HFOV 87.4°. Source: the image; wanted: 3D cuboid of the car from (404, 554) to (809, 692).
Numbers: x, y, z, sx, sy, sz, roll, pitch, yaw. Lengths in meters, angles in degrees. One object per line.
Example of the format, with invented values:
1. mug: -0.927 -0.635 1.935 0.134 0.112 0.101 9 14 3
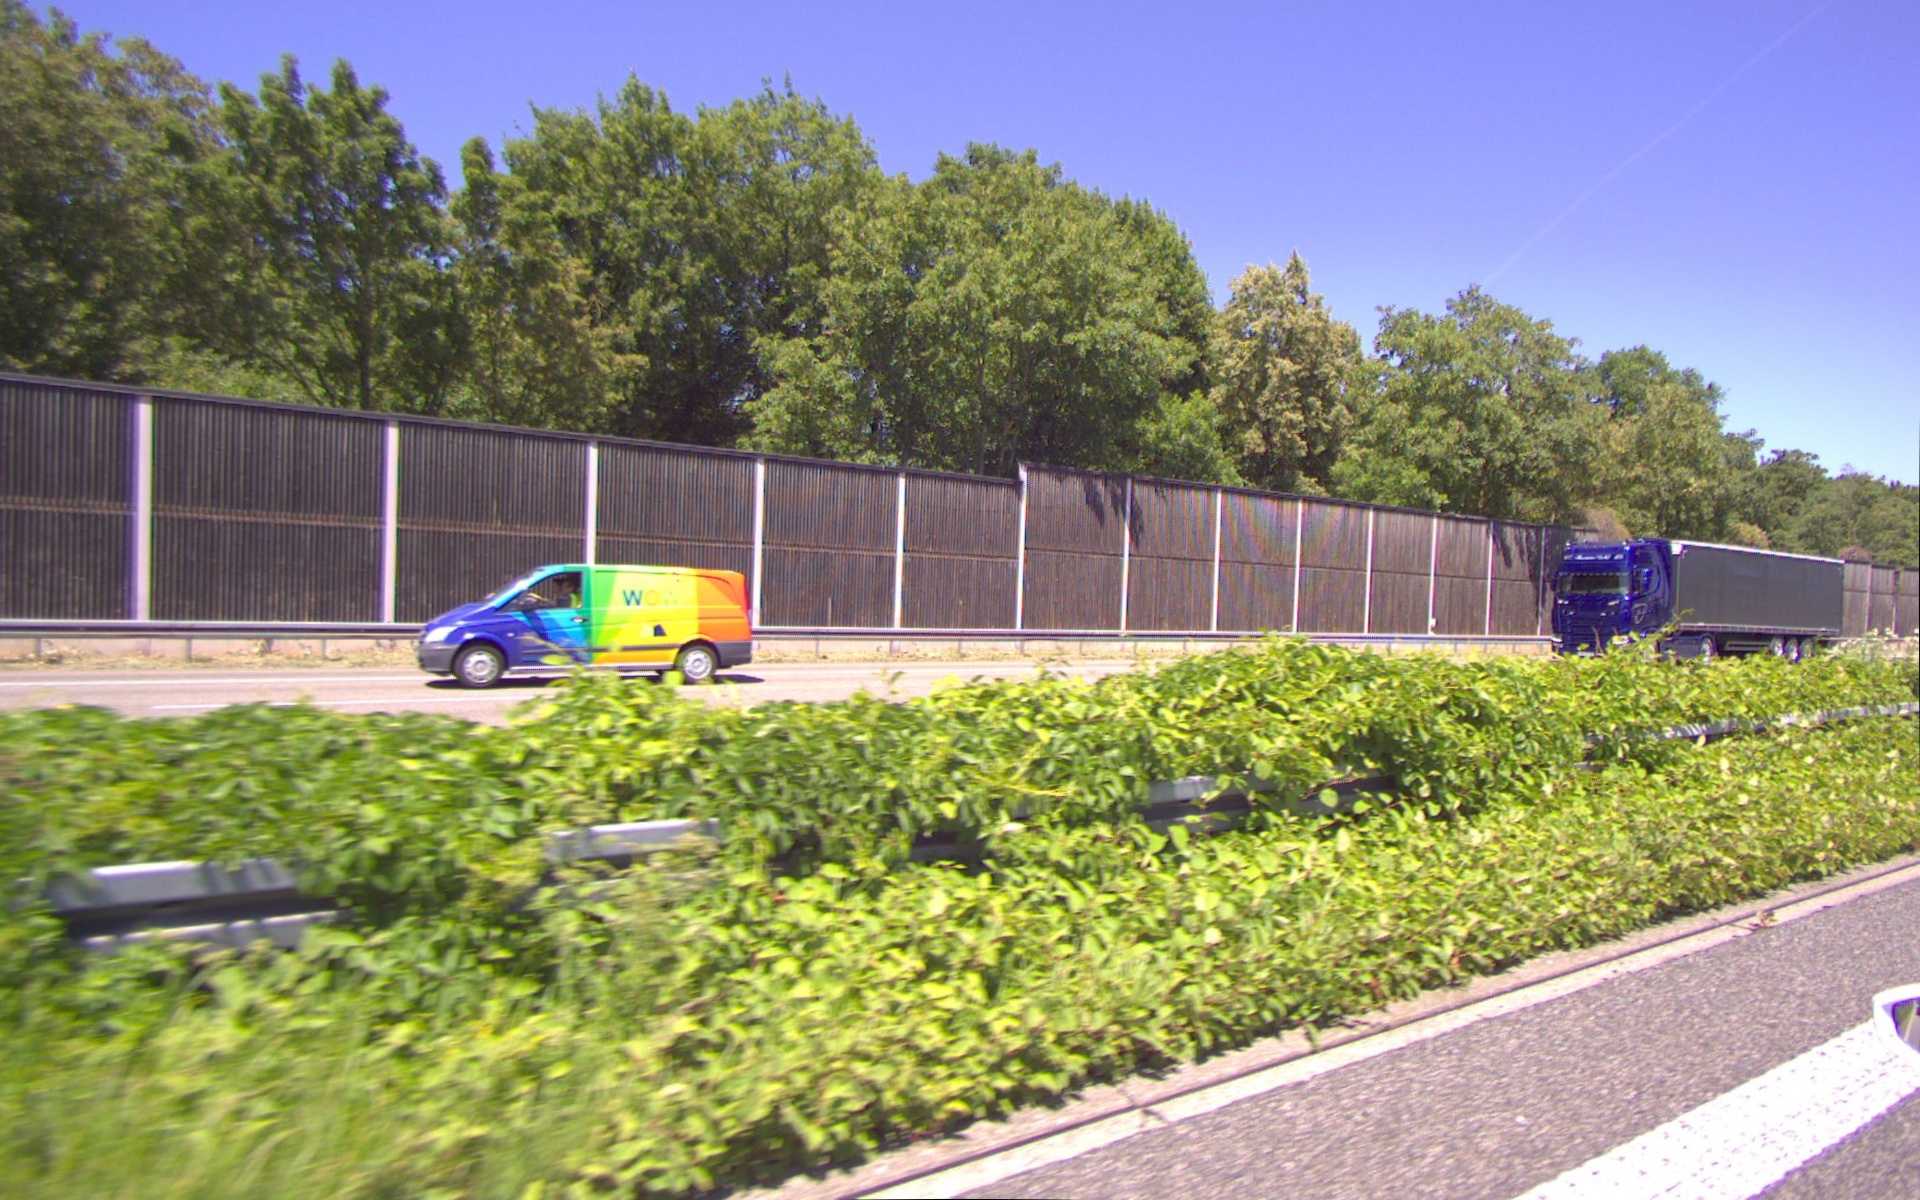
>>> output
1. car: -5.580 0.374 16.278 5.895 1.905 1.982 2 0 -33

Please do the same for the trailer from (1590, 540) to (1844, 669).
1. trailer: 28.081 0.302 36.896 13.185 4.147 2.883 2 0 -32

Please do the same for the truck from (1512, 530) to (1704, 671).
1. truck: 20.928 0.074 32.379 6.051 4.147 2.882 2 0 -33
